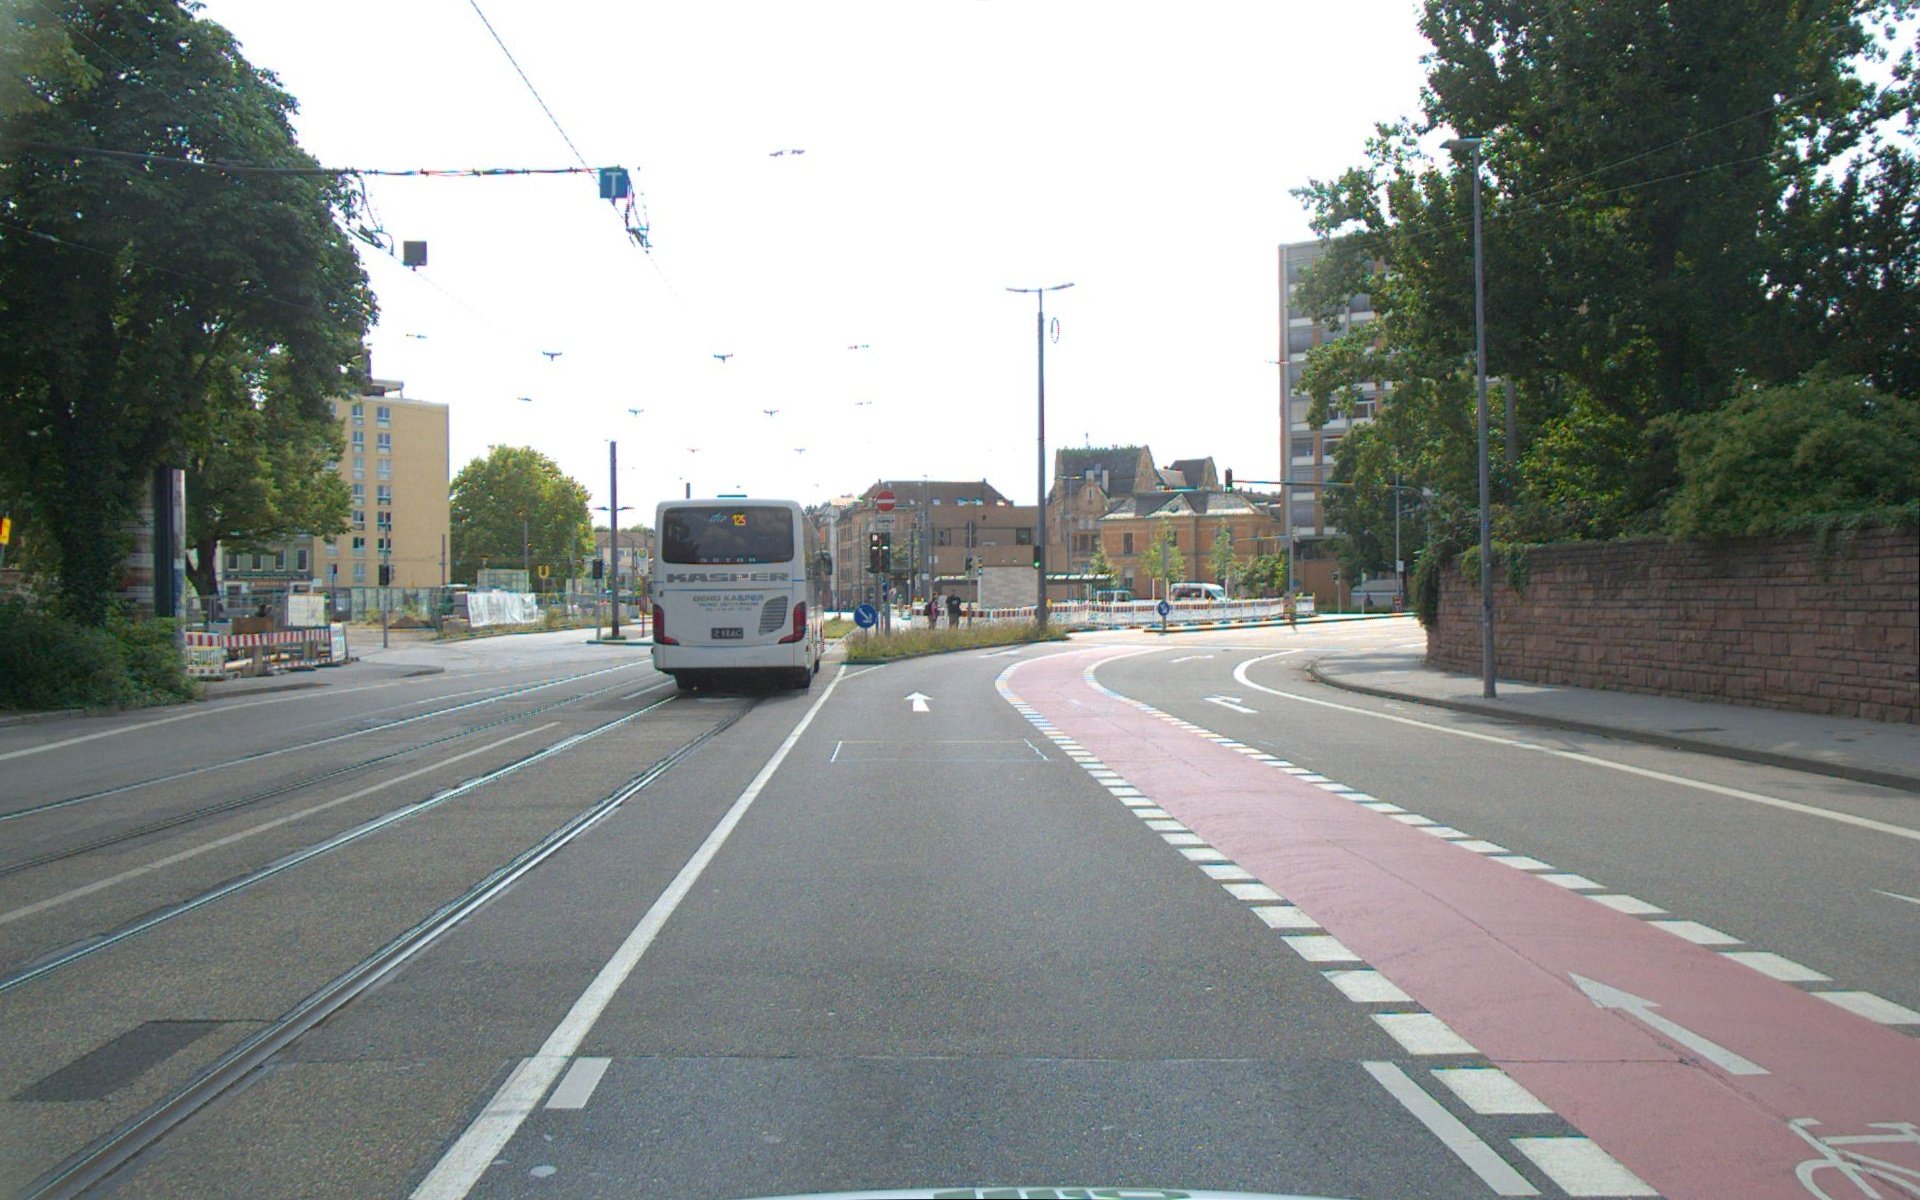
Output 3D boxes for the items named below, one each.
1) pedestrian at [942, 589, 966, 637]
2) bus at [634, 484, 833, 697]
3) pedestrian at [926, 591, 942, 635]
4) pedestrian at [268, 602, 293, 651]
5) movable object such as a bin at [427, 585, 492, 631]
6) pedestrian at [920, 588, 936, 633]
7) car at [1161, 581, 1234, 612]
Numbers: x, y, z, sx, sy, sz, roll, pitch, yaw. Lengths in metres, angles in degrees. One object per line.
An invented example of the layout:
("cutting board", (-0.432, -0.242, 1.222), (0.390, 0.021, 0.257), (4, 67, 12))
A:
("pedestrian", (-0.259, 0.505, 66.504), (0.781, 1.918, 0.608), (-1, 0, -24))
("bus", (-4.084, -0.101, 32.517), (2.860, 3.386, 12.197), (0, 0, -3))
("pedestrian", (-1.047, 0.511, 65.916), (0.400, 1.766, 0.621), (-1, 0, 24))
("pedestrian", (-23.964, 0.933, 58.318), (0.775, 1.681, 0.577), (-1, 0, -19))
("movable object such as a bin", (-29.262, 0.459, 96.860), (2.588, 2.619, 4.000), (-1, 0, 0))
("pedestrian", (-1.258, 0.418, 64.926), (0.599, 1.736, 0.622), (-1, 0, -2))
("car", (18.292, -0.249, 127.701), (2.279, 2.359, 5.511), (0, -1, -38))
